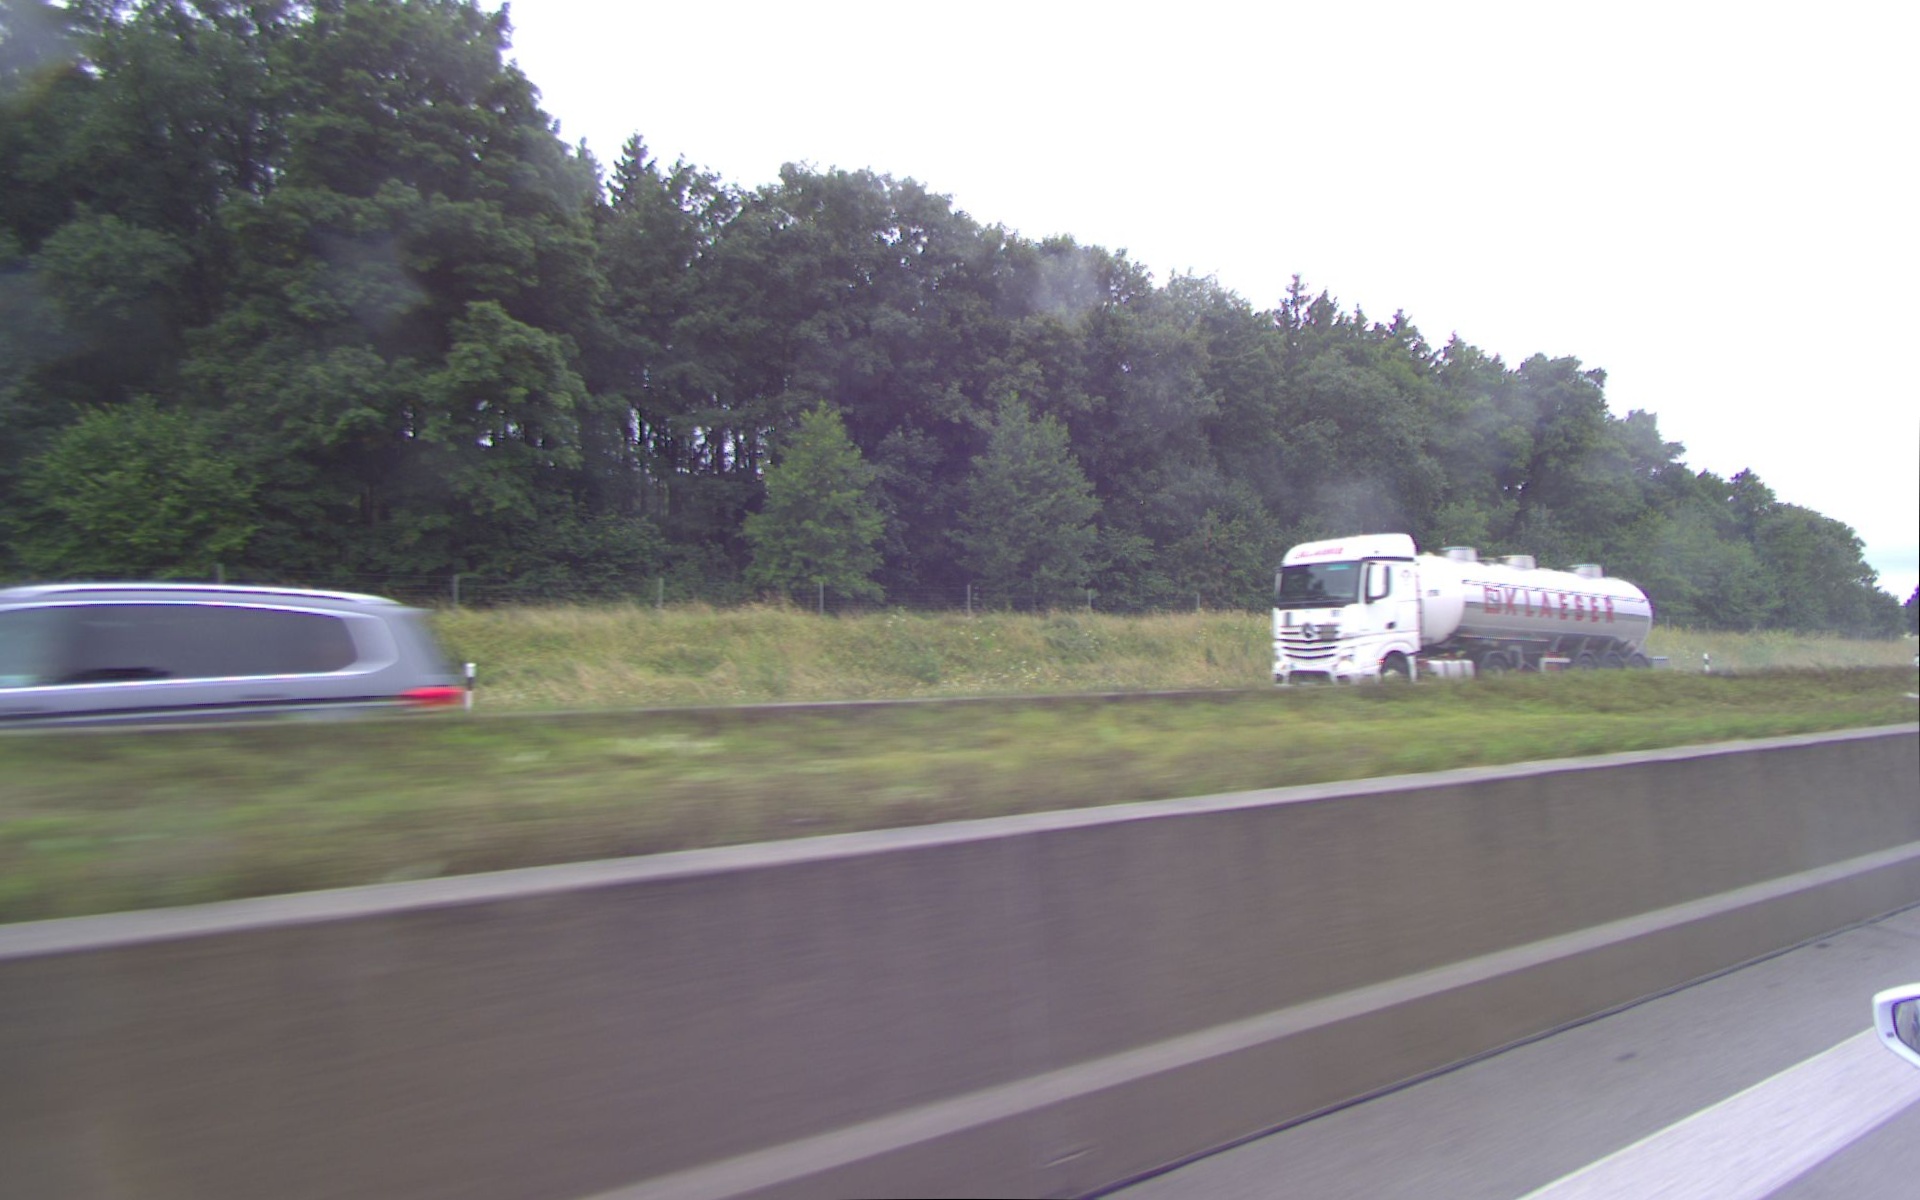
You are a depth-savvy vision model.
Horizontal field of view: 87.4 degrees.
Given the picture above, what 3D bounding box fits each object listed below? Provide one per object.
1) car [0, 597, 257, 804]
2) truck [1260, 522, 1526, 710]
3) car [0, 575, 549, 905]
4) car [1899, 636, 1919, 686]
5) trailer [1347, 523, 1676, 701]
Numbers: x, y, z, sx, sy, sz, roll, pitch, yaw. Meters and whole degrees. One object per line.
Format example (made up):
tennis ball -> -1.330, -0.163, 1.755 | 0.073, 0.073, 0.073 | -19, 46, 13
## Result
car -> -8.806, 0.795, 8.481 | 4.508, 1.649, 1.984 | 2, -2, -31
truck -> 10.318, 0.421, 23.776 | 6.364, 3.926, 2.650 | 1, -2, -32
car -> -5.081, 0.750, 6.205 | 4.508, 1.709, 1.775 | 1, -1, -31
car -> 32.285, 1.948, 32.246 | 4.508, 1.563, 1.984 | 2, -2, -31
trailer -> 14.957, 0.411, 26.701 | 11.012, 4.024, 2.650 | 1, -2, -32
